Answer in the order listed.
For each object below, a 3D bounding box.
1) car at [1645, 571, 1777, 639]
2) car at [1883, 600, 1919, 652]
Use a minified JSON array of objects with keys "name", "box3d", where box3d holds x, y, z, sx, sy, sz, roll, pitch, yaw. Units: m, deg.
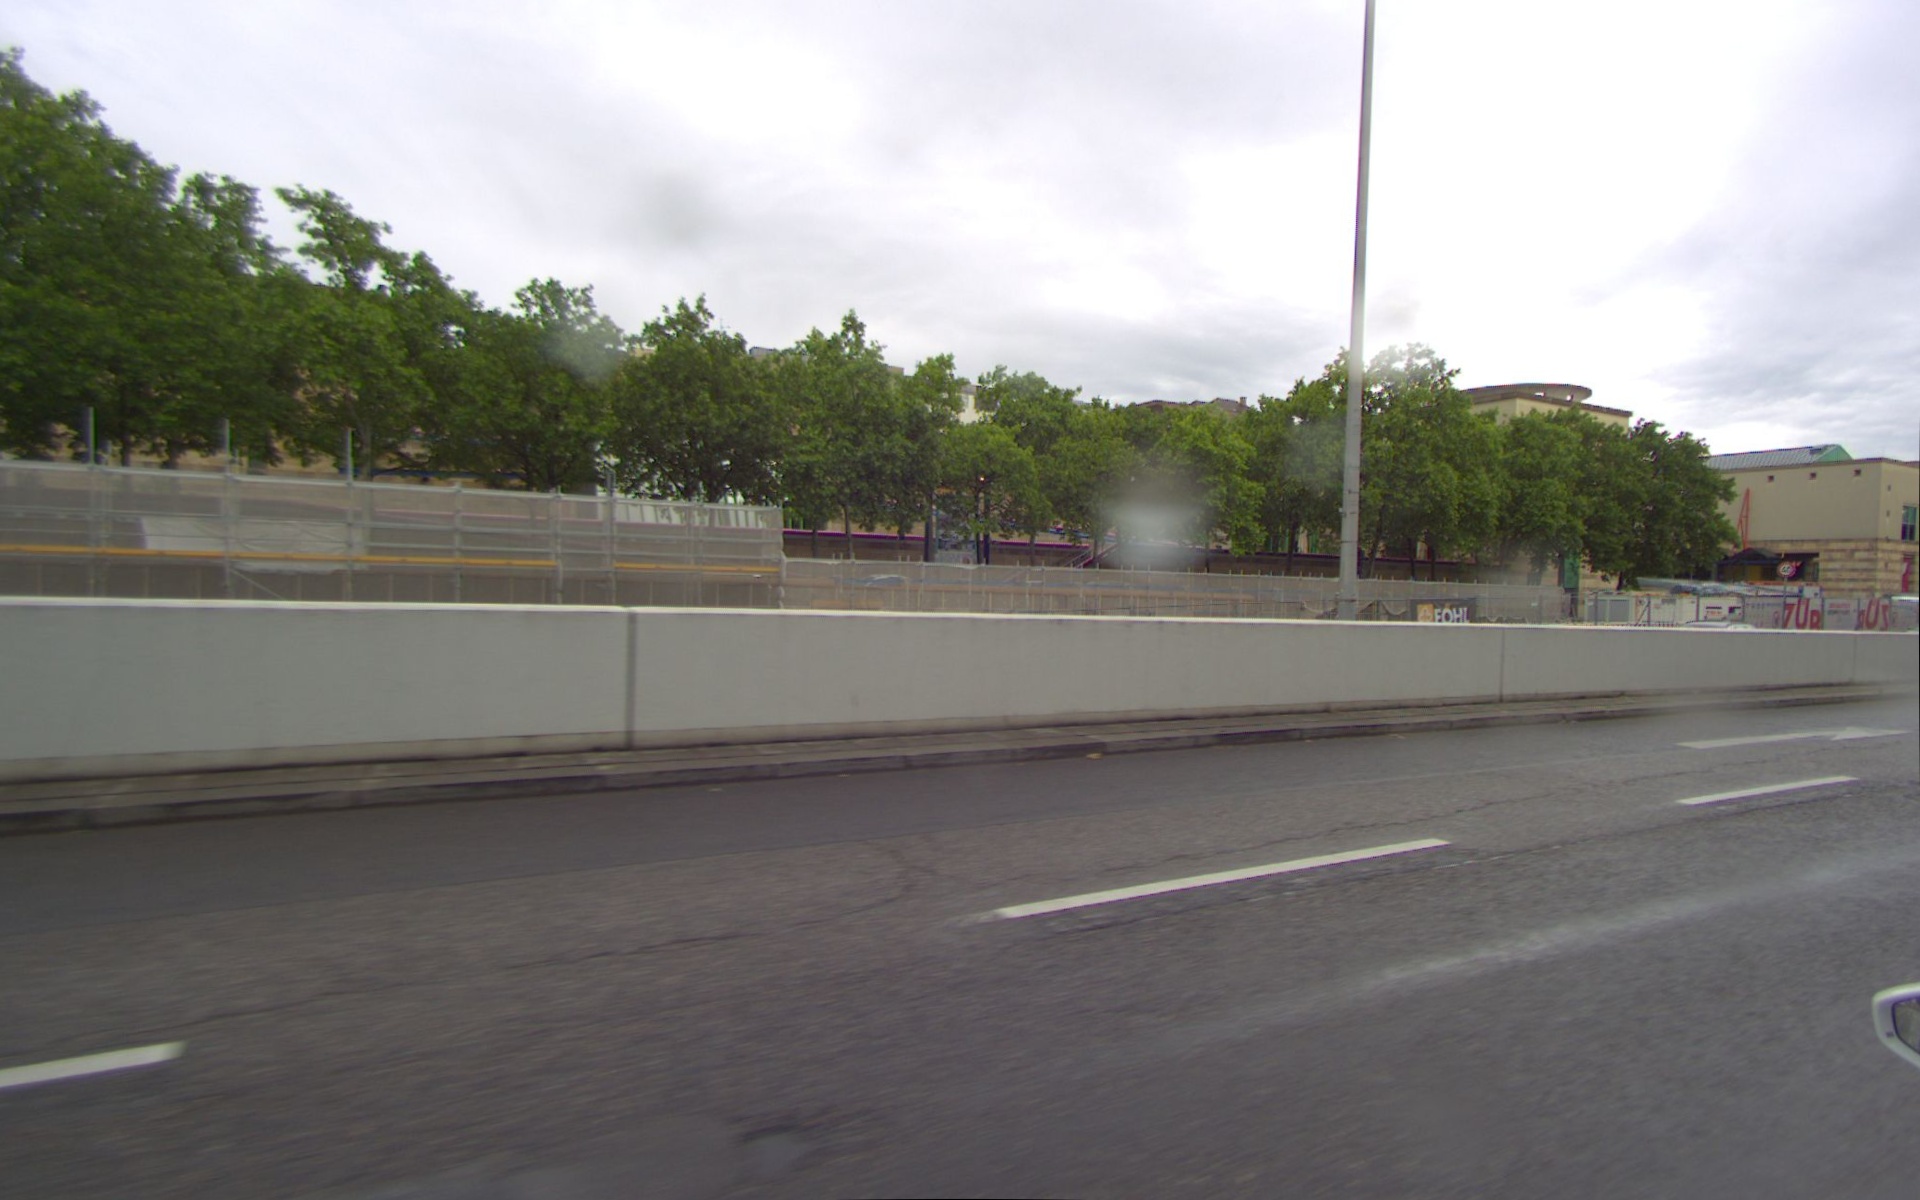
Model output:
[{"name":"car","box3d":[24.710,0.171,33.032,3.953,2.041,1.984,1,3,-30]},{"name":"car","box3d":[41.010,1.128,42.298,3.953,2.041,1.984,1,3,-30]}]
